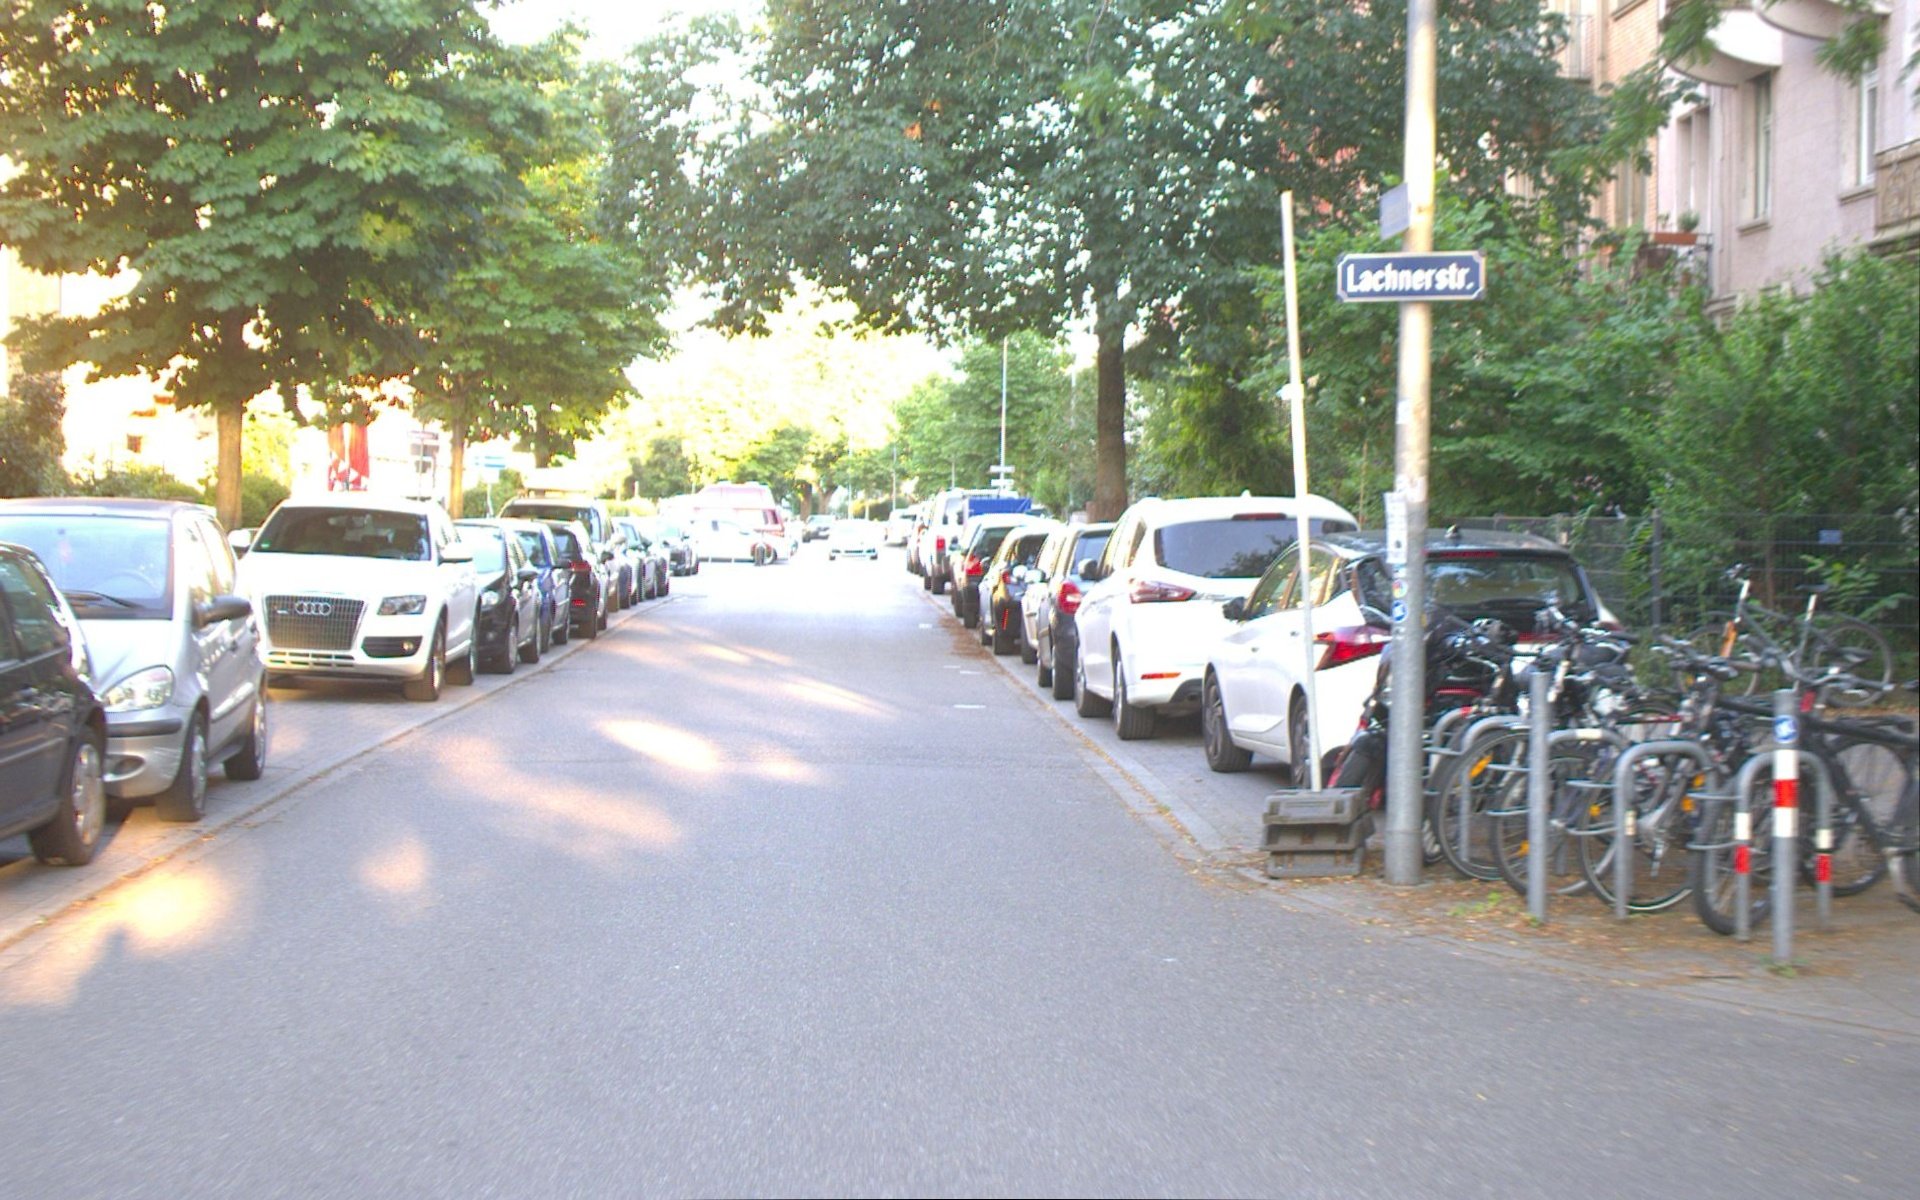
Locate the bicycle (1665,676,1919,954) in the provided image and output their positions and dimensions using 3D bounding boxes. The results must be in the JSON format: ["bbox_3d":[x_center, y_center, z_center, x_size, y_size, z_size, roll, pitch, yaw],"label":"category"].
[{"bbox_3d":[3.276,0.793,12.821,1.224,0.983,0.330,-1,3,-3],"label":"bicycle"}]

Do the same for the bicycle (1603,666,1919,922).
[{"bbox_3d":[3.201,0.763,13.739,1.224,0.960,0.330,-1,3,-18],"label":"bicycle"}]

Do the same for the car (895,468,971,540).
[{"bbox_3d":[-0.716,-2.475,88.883,1.686,1.805,3.941,1,1,-4],"label":"car"}]

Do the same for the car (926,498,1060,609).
[{"bbox_3d":[0.468,-0.728,52.472,1.686,1.600,3.941,1,1,-4],"label":"car"}]

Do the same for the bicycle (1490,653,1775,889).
[{"bbox_3d":[2.902,0.724,14.824,1.224,0.944,0.330,-1,3,-24],"label":"bicycle"}]

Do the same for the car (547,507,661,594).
[{"bbox_3d":[-6.216,-0.892,60.262,1.715,1.436,3.631,1,2,-2],"label":"car"}]

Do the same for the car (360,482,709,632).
[{"bbox_3d":[-5.309,-0.551,43.259,4.201,1.784,1.722,1,2,-2],"label":"car"}]

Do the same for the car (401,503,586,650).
[{"bbox_3d":[-5.295,-0.309,39.387,1.715,1.561,3.788,1,2,-2],"label":"car"}]

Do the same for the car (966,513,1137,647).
[{"bbox_3d":[1.012,-0.263,39.917,1.686,1.436,4.210,-1,1,-2],"label":"car"}]

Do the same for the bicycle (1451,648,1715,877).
[{"bbox_3d":[2.800,0.716,15.436,1.224,0.948,0.330,-1,3,-29],"label":"bicycle"}]

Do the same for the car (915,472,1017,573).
[{"bbox_3d":[0.092,-1.538,68.339,1.680,1.934,3.881,1,1,-4],"label":"car"}]

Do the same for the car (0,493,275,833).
[{"bbox_3d":[-4.658,0.249,18.282,1.595,1.598,3.745,1,2,-5],"label":"car"}]

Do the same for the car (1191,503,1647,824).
[{"bbox_3d":[2.435,0.274,19.121,1.686,1.586,3.660,0,2,-6],"label":"car"}]

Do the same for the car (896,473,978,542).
[{"bbox_3d":[-0.575,-2.230,83.221,1.686,1.600,3.941,1,1,-4],"label":"car"}]

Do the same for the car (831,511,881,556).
[{"bbox_3d":[-3.871,-2.474,127.627,1.813,1.590,3.483,1,2,-2],"label":"car"}]

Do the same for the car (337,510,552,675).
[{"bbox_3d":[-5.180,-0.107,34.936,1.715,1.561,3.781,1,1,-2],"label":"car"}]

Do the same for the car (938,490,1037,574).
[{"bbox_3d":[0.493,-1.275,64.513,1.538,1.516,3.432,1,1,-4],"label":"car"}]

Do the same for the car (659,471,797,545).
[{"bbox_3d":[-7.449,-2.964,110.437,4.349,2.310,1.746,1,2,-3],"label":"car"}]

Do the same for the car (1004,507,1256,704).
[{"bbox_3d":[1.426,-0.001,30.391,1.686,1.600,4.210,1,1,-4],"label":"car"}]

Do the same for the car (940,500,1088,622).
[{"bbox_3d":[0.717,-0.565,47.998,1.686,1.600,3.941,1,1,-4],"label":"car"}]

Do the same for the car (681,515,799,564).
[{"bbox_3d":[-6.908,-1.904,107.888,3.618,1.456,1.607,1,2,-5],"label":"car"}]

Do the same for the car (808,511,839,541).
[{"bbox_3d":[-7.598,-4.127,191.399,1.715,1.590,3.483,1,2,-2],"label":"car"}]

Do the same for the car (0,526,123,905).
[{"bbox_3d":[-4.577,0.459,13.401,1.616,1.465,3.961,1,2,1],"label":"car"}]

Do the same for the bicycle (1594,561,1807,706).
[{"bbox_3d":[5.472,0.246,25.429,1.509,1.030,0.330,-1,3,-3],"label":"bicycle"}]

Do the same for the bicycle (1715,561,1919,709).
[{"bbox_3d":[6.257,0.252,24.889,1.509,1.030,0.330,-1,3,-3],"label":"bicycle"}]

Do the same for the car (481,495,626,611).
[{"bbox_3d":[-5.891,-0.722,50.260,1.715,1.590,4.520,1,2,-2],"label":"car"}]

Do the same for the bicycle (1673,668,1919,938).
[{"bbox_3d":[3.385,0.768,13.187,1.224,0.984,0.330,-1,3,-5],"label":"bicycle"}]

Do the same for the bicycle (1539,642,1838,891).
[{"bbox_3d":[2.997,0.671,14.123,1.224,0.954,0.330,-1,3,-24],"label":"bicycle"}]

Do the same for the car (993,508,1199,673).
[{"bbox_3d":[1.356,-0.133,35.666,1.686,1.600,3.749,1,1,-4],"label":"car"}]

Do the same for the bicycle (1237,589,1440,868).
[{"bbox_3d":[1.741,0.552,15.626,0.444,1.169,1.634,1,1,23],"label":"bicycle"}]

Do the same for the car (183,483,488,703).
[{"bbox_3d":[-5.228,-0.126,29.345,1.921,1.711,4.428,1,2,-2],"label":"car"}]

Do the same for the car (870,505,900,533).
[{"bbox_3d":[-4.519,-4.887,207.266,1.715,1.590,3.483,1,2,-2],"label":"car"}]

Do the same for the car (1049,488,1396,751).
[{"bbox_3d":[1.773,0.077,24.684,1.798,1.705,4.602,0,1,-4],"label":"car"}]

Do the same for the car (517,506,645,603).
[{"bbox_3d":[-6.038,-0.757,55.090,1.715,1.460,3.987,1,2,-2],"label":"car"}]
